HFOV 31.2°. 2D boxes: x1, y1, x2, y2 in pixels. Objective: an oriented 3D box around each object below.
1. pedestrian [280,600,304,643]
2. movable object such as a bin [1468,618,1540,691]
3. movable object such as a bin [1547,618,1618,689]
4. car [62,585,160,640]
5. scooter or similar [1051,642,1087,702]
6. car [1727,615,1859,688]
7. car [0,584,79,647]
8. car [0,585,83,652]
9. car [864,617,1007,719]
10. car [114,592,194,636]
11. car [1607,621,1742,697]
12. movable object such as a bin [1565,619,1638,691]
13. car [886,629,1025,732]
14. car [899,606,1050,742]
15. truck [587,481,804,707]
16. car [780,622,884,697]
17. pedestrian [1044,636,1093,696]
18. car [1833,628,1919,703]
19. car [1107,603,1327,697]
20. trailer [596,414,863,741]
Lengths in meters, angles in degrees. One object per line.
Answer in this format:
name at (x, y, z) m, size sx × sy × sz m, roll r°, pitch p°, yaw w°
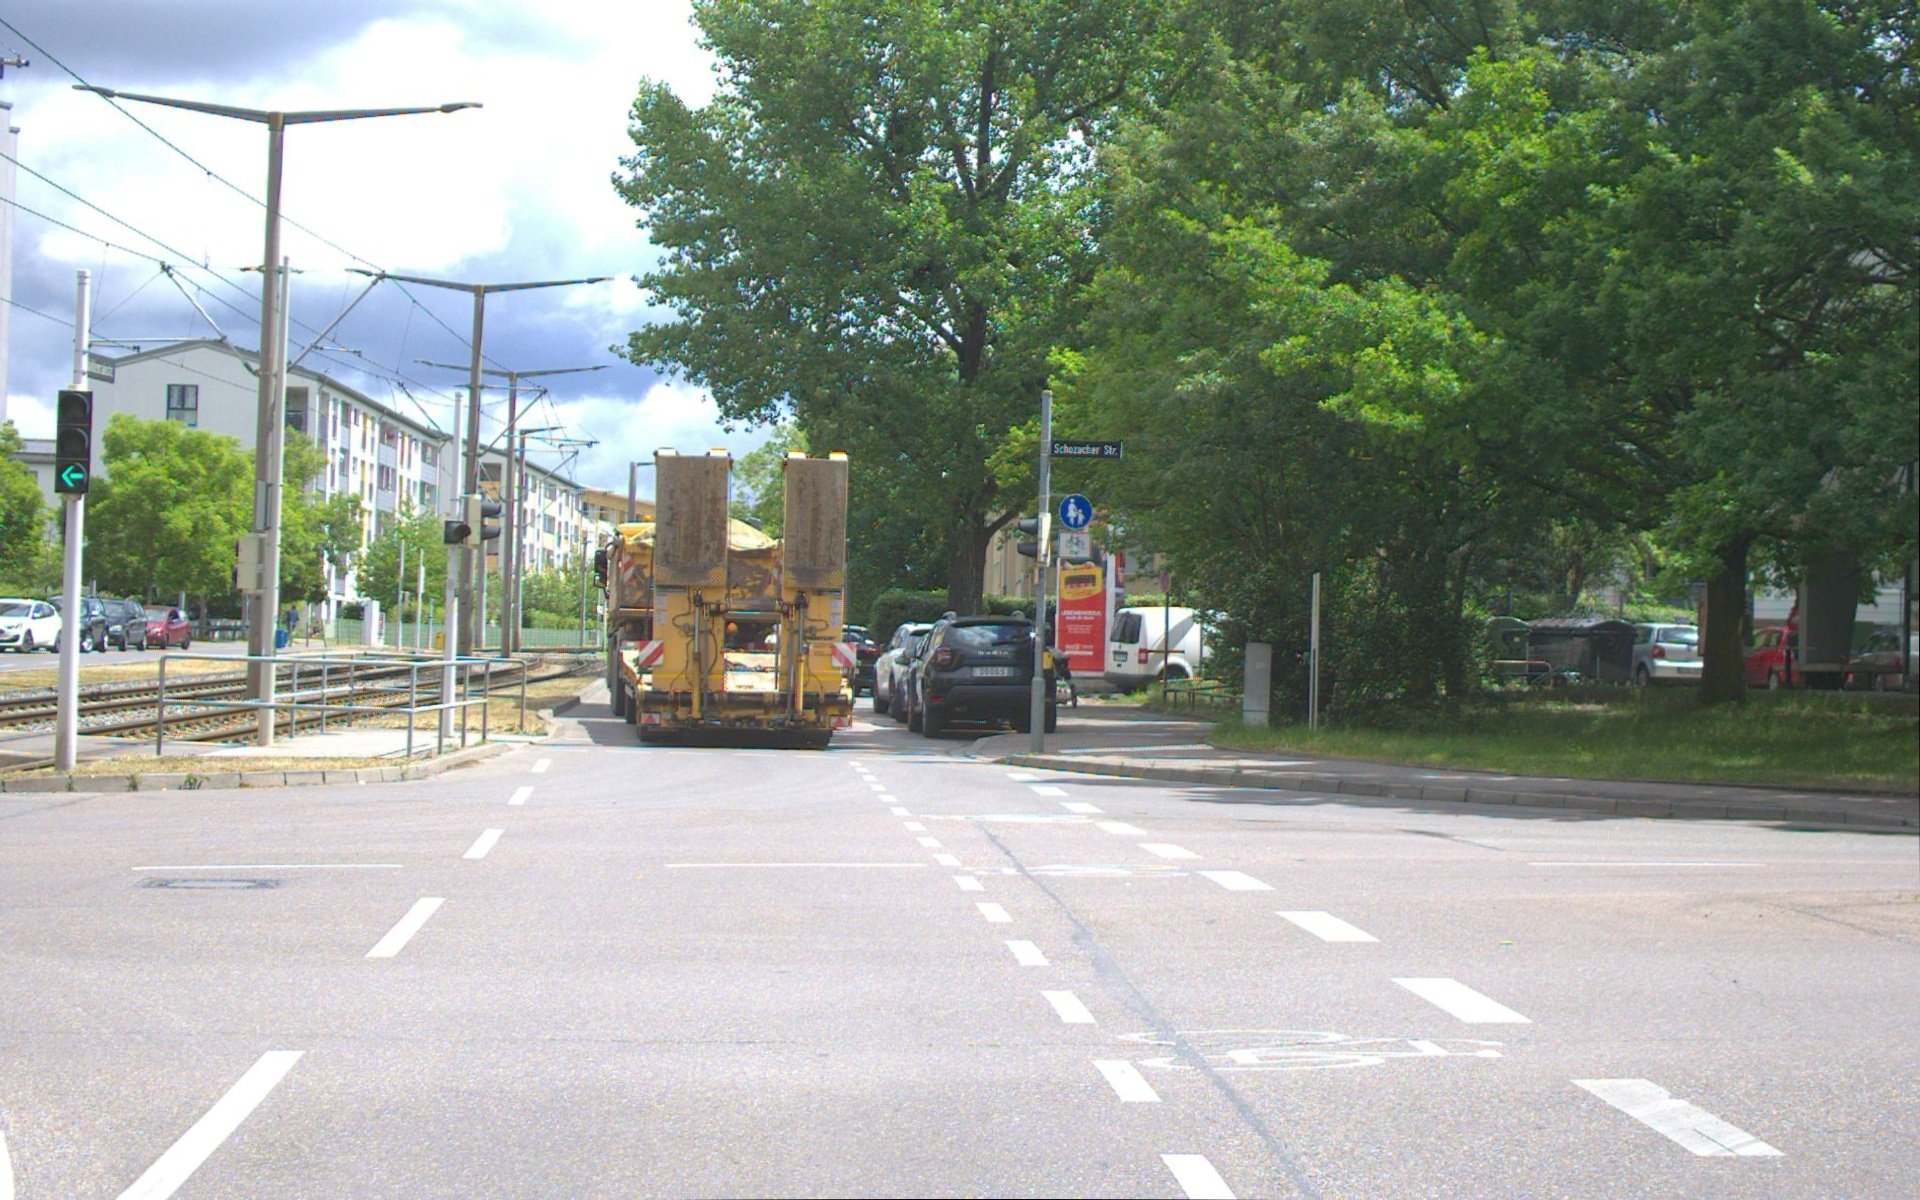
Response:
pedestrian at (-26.032, 0.850, 133.932) m, size 0.749 × 1.656 × 0.869 m, roll 1°, pitch 0°, yaw 1°
movable object such as a bin at (10.885, 1.080, 68.830) m, size 1.115 × 1.425 × 1.286 m, roll 1°, pitch 0°, yaw -5°
movable object such as a bin at (12.849, 1.098, 70.997) m, size 1.115 × 1.425 × 1.286 m, roll 1°, pitch 0°, yaw -5°
car at (-26.145, 0.382, 106.003) m, size 1.993 × 1.642 × 4.100 m, roll 1°, pitch 0°, yaw 0°
scooter or similar at (1.943, 1.288, 61.401) m, size 0.476 × 1.051 × 0.897 m, roll 1°, pitch 0°, yaw -9°
car at (17.610, 1.071, 72.834) m, size 1.743 × 1.438 × 4.000 m, roll 1°, pitch 0°, yaw -1°
car at (-26.139, 0.421, 96.536) m, size 1.993 × 1.657 × 4.100 m, roll 2°, pitch 0°, yaw -5°
car at (-24.777, 0.473, 91.676) m, size 1.993 × 1.657 × 4.100 m, roll 2°, pitch 0°, yaw -5°
car at (-0.459, 1.096, 57.124) m, size 1.783 × 1.560 × 4.571 m, roll 1°, pitch 0°, yaw -8°
car at (-26.368, 0.450, 112.530) m, size 1.613 × 1.421 × 3.422 m, roll 1°, pitch 0°, yaw 4°
car at (14.982, 1.222, 72.272) m, size 1.940 × 1.485 × 4.000 m, roll 1°, pitch 0°, yaw -1°
movable object such as a bin at (12.992, 1.108, 69.644) m, size 1.115 × 1.425 × 1.286 m, roll 1°, pitch 0°, yaw -5°
car at (-0.109, 1.199, 52.436) m, size 1.643 × 1.453 × 4.077 m, roll 1°, pitch 0°, yaw -7°
car at (0.151, 0.989, 47.894) m, size 1.643 × 1.756 × 4.570 m, roll 1°, pitch 0°, yaw -5°
truck at (-4.343, -0.099, 54.952) m, size 2.833 × 3.319 × 7.986 m, roll 1°, pitch 0°, yaw -9°
car at (-2.650, 1.197, 70.337) m, size 1.815 × 1.444 × 3.827 m, roll 1°, pitch 0°, yaw -6°
pedestrian at (1.936, 1.180, 61.390) m, size 0.775 × 1.051 × 0.547 m, roll 1°, pitch 0°, yaw -9°
car at (19.802, 1.365, 72.120) m, size 1.743 × 1.465 × 4.000 m, roll 1°, pitch 0°, yaw -4°
car at (5.128, 0.996, 68.624) m, size 3.986 × 1.816 × 1.811 m, roll 1°, pitch 0°, yaw -26°
trailer at (-3.268, -0.278, 45.604) m, size 3.050 × 3.760 × 11.614 m, roll 1°, pitch 0°, yaw -6°
